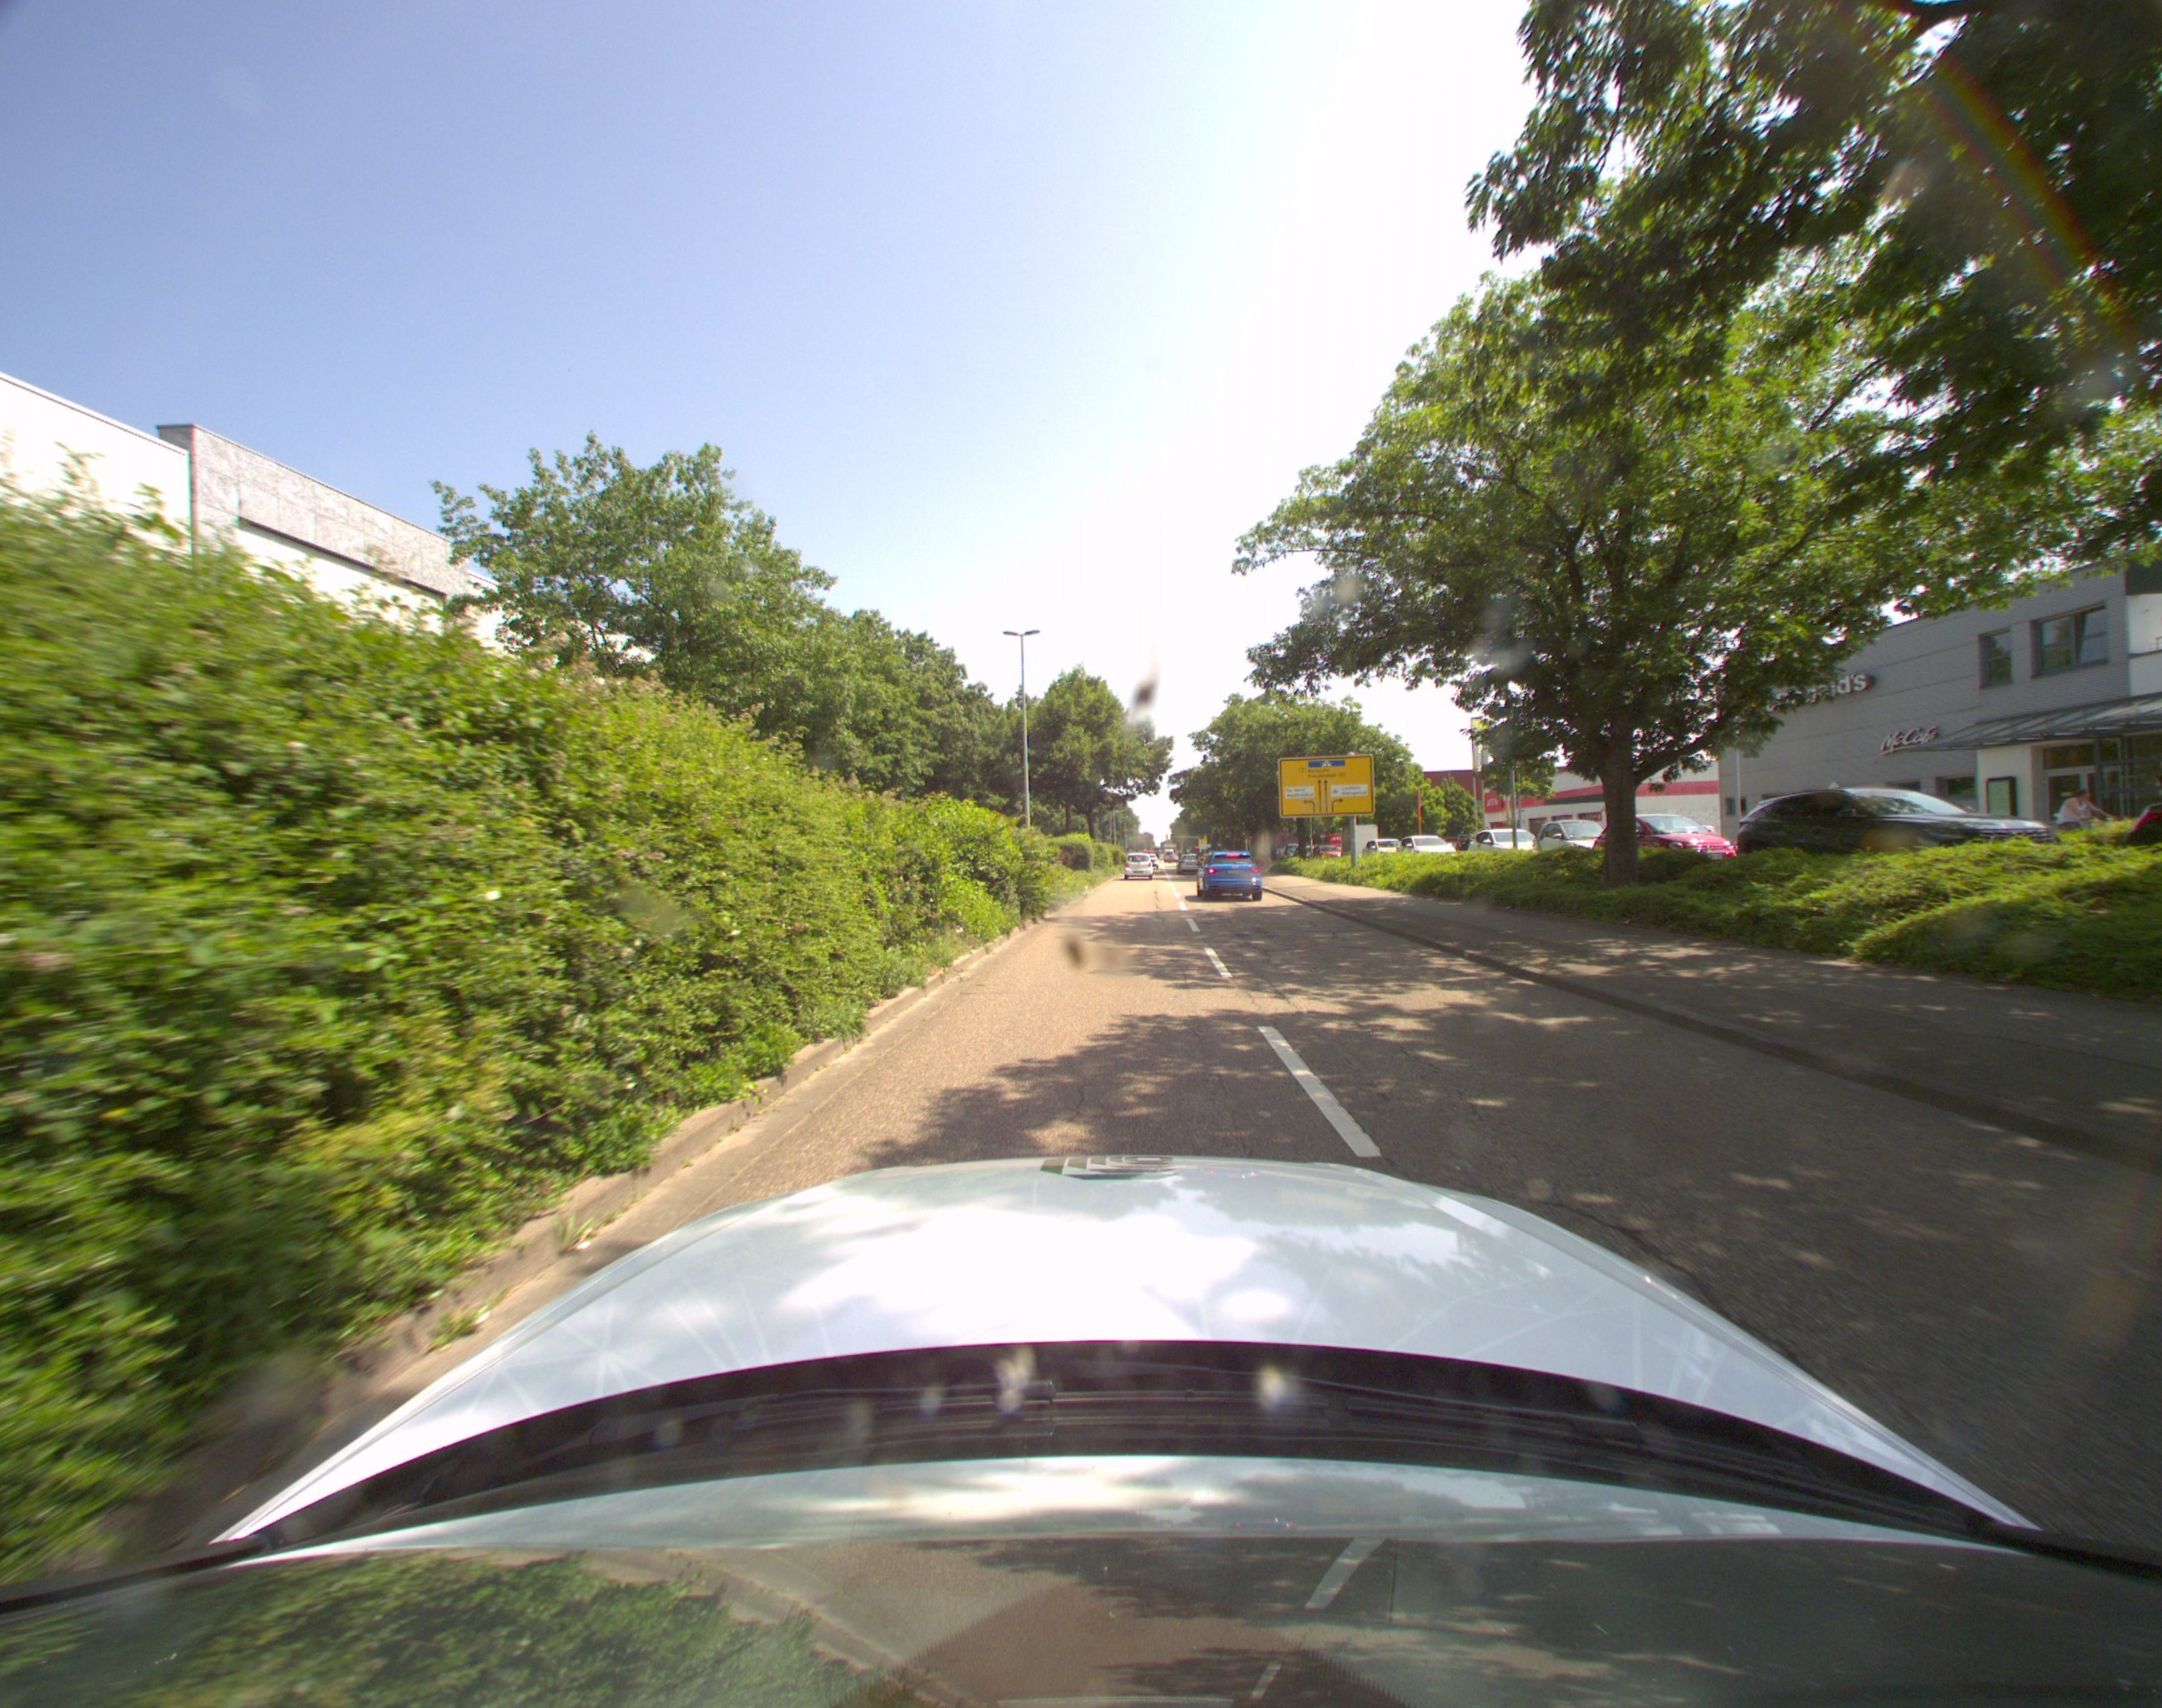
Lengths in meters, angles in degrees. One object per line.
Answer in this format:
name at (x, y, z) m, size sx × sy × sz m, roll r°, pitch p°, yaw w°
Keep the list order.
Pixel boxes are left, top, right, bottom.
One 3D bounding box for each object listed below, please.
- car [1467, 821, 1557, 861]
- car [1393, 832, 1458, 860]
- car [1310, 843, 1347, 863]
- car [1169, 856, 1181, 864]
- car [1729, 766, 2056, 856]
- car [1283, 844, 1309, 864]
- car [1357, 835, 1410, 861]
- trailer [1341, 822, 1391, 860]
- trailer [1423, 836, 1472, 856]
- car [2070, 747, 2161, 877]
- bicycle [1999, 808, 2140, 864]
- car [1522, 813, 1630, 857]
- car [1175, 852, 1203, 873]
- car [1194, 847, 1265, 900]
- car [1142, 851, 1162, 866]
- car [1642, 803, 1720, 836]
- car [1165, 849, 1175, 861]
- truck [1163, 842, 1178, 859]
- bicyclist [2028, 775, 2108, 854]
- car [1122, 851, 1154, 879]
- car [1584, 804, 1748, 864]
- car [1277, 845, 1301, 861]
car at (15.078, -0.411, 28.700) m, size 1.609 × 1.253 × 3.876 m, roll -2°, pitch -1°, yaw 9°
car at (15.380, -0.313, 36.561) m, size 1.586 × 1.158 × 3.743 m, roll -1°, pitch -1°, yaw 5°
car at (18.160, -0.101, 59.990) m, size 1.692 × 1.380 × 4.330 m, roll -2°, pitch 0°, yaw 5°
car at (17.348, 1.161, 150.332) m, size 1.857 × 1.310 × 4.005 m, roll -3°, pitch 0°, yaw 5°
car at (13.241, -0.604, 13.718) m, size 1.611 × 1.253 × 4.205 m, roll 0°, pitch -1°, yaw 6°
car at (18.938, 0.010, 71.826) m, size 1.691 × 1.637 × 3.913 m, roll -2°, pitch -1°, yaw 7°
car at (15.857, -0.269, 42.878) m, size 1.612 × 1.253 × 3.634 m, roll -1°, pitch -1°, yaw 4°
trailer at (16.727, -0.730, 48.058) m, size 1.691 × 2.055 × 5.495 m, roll -2°, pitch 0°, yaw 8°
trailer at (32.105, -0.671, 71.436) m, size 3.585 × 1.582 × 1.415 m, roll -3°, pitch 0°, yaw 7°
car at (13.243, -0.525, 7.203) m, size 1.903 × 1.451 × 5.589 m, roll -1°, pitch -1°, yaw -6°
bicycle at (23.562, -0.416, 19.495) m, size 0.688 × 1.225 × 2.245 m, roll -3°, pitch 0°, yaw 4°
car at (14.267, -0.513, 23.621) m, size 1.501 × 1.122 × 2.858 m, roll -1°, pitch -1°, yaw 3°
car at (7.737, 0.619, 58.626) m, size 1.857 × 1.473 × 4.005 m, roll -1°, pitch -1°, yaw 5°
car at (4.832, 0.629, 27.063) m, size 1.801 × 1.593 × 4.353 m, roll -1°, pitch -1°, yaw 3°
car at (6.961, 0.467, 80.114) m, size 1.875 × 1.354 × 4.006 m, roll -1°, pitch -1°, yaw 6°
car at (37.356, -2.122, 50.891) m, size 1.701 × 1.805 × 4.638 m, roll -3°, pitch 0°, yaw 5°
car at (18.069, 0.156, 165.790) m, size 1.984 × 2.255 × 4.006 m, roll -3°, pitch 0°, yaw 5°
truck at (19.316, -0.744, 176.259) m, size 2.918 × 3.502 × 9.171 m, roll -3°, pitch 0°, yaw 5°
bicyclist at (23.533, -0.918, 19.440) m, size 0.775 × 1.804 × 0.865 m, roll -3°, pitch 0°, yaw 3°
car at (3.263, 0.638, 47.117) m, size 1.632 × 1.552 × 3.326 m, roll -2°, pitch -1°, yaw 1°
car at (13.772, -0.404, 19.440) m, size 1.609 × 1.253 × 3.772 m, roll -2°, pitch -1°, yaw 9°
car at (19.677, -0.104, 77.182) m, size 1.691 × 1.424 × 4.665 m, roll -2°, pitch -1°, yaw 9°
